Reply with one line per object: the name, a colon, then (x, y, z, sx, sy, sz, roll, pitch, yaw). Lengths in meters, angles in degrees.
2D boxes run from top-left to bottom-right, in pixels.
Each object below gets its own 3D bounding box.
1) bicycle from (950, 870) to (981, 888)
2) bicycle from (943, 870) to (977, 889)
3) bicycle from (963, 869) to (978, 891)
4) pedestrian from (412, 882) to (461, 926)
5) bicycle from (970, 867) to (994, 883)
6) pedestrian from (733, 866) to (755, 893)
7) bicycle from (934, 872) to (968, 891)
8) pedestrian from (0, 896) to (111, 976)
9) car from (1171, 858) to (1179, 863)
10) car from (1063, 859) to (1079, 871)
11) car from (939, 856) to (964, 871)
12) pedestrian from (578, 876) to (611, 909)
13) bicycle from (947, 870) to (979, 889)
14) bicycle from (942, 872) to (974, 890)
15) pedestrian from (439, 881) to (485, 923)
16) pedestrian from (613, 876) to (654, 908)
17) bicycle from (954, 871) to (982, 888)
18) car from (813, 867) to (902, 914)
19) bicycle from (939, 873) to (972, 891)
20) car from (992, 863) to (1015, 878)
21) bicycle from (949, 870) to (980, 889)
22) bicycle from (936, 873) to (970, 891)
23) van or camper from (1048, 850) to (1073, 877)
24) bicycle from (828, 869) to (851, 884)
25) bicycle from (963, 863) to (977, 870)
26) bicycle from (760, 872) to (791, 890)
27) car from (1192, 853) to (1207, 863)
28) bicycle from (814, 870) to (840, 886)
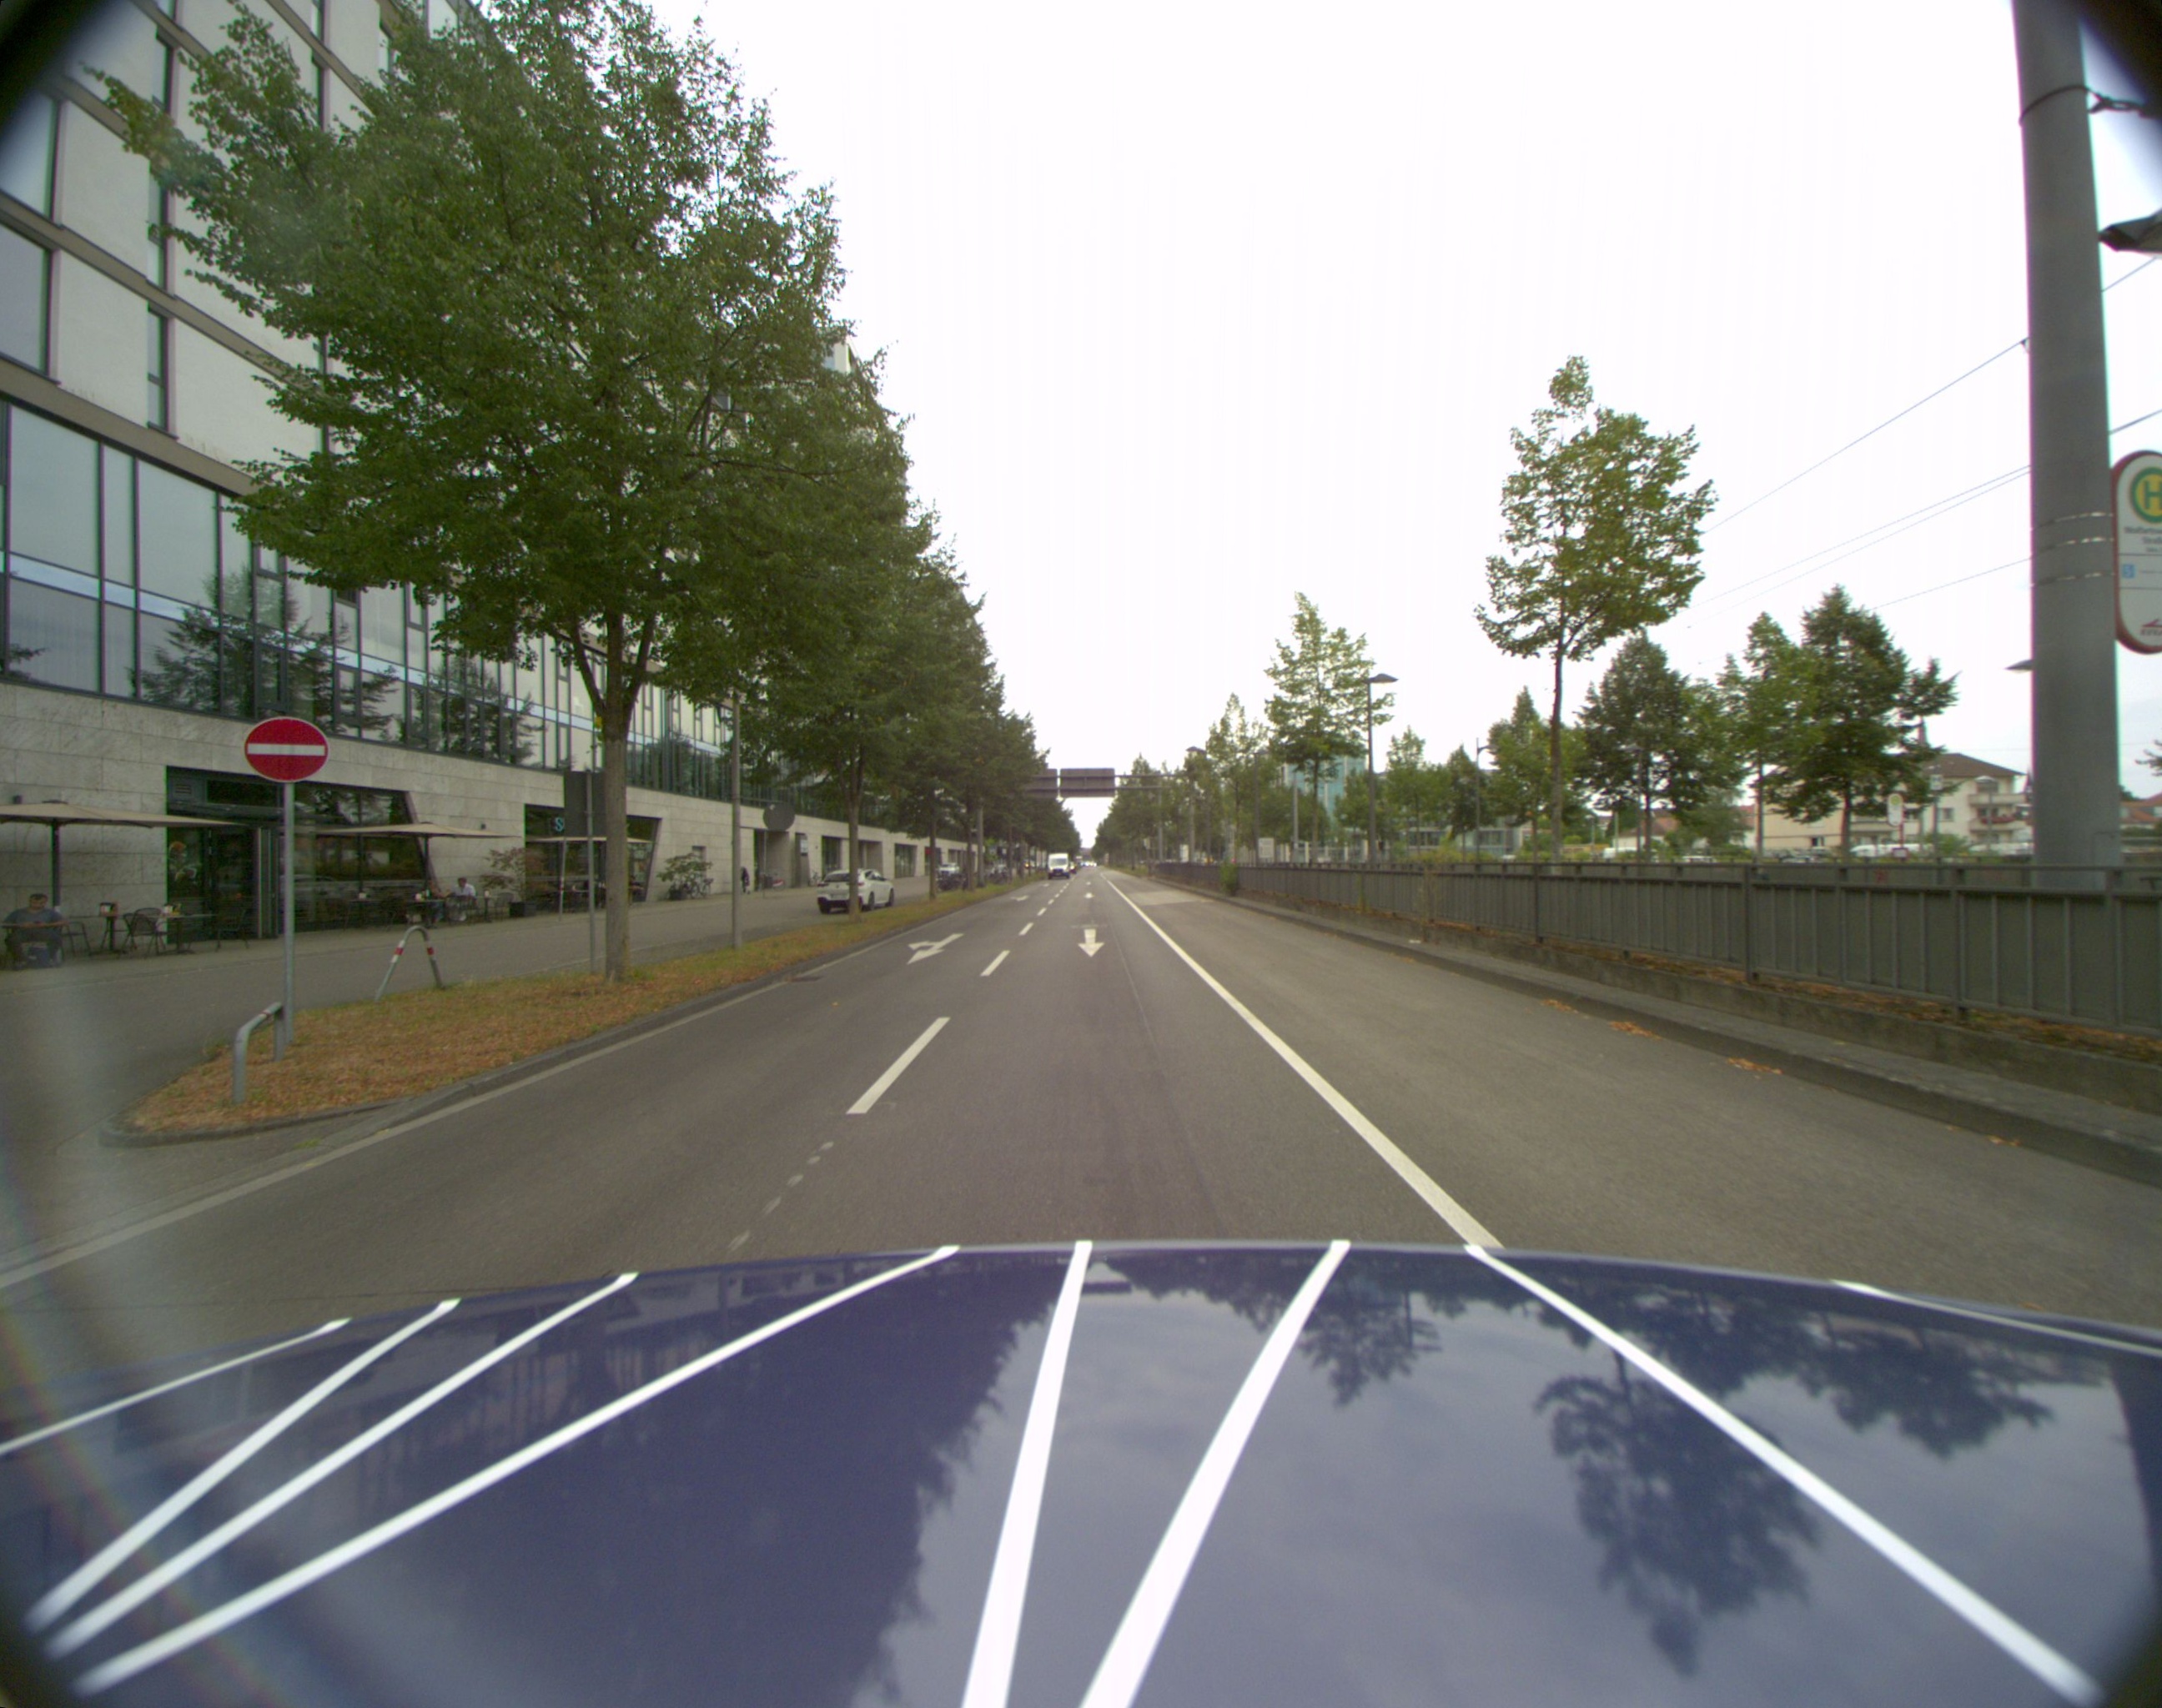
bicycle: (-7.532, 1.643, 49.767, 1.935, 1.059, 0.543, -4, 0, -8)
bicycle: (-7.595, 1.616, 47.697, 1.935, 1.059, 0.705, -4, 0, -2)
bicycle: (-6.108, 1.410, 42.085, 0.712, 1.109, 2.202, -4, 0, -7)
pedestrian: (-18.188, 1.404, 21.466, 0.720, 1.185, 0.759, -1, 0, 0)
bicycle: (-7.498, 1.603, 57.529, 1.672, 1.084, 0.525, -3, 0, -3)
pedestrian: (-17.678, 1.351, 39.844, 0.758, 1.398, 0.721, -1, 0, 8)
bicycle: (-7.655, 1.605, 44.848, 1.865, 0.989, 0.574, -4, 0, -2)
pedestrian: (-17.193, 1.344, 12.646, 0.899, 1.221, 0.951, -1, 0, 6)
car: (25.544, 1.760, 206.871, 1.752, 1.448, 3.865, -1, 0, 2)
car: (-1.305, 1.398, 99.265, 1.973, 1.528, 4.140, -1, 0, 1)
car: (-14.042, 1.028, 82.740, 1.862, 1.579, 4.240, 1, 0, 1)
pedestrian: (-17.940, 1.410, 28.028, 0.719, 1.185, 0.760, -1, 0, 23)
bicycle: (-7.513, 1.611, 48.457, 1.935, 1.059, 0.641, -4, 0, -2)
bicycle: (-7.611, 1.670, 47.005, 1.865, 0.945, 0.612, -4, 0, -2)
pedestrian: (-18.166, 1.402, 22.318, 0.720, 1.185, 0.759, -1, 0, 2)
pedestrian: (-17.280, 1.450, 29.346, 0.773, 1.185, 1.107, -1, 0, 16)
bicycle: (-7.465, 1.683, 50.413, 1.749, 0.968, 0.609, -4, 0, -8)
car: (-8.251, 1.296, 28.523, 1.943, 1.543, 4.594, -1, -1, 0)
bicycle: (-7.652, 1.673, 46.264, 1.865, 0.945, 0.653, -4, 0, -2)
car: (-7.621, 1.605, 74.957, 1.765, 1.413, 4.183, -1, 0, 1)
bicycle: (-7.549, 1.643, 49.188, 1.935, 1.059, 0.543, -4, 0, -8)
bicycle: (-7.669, 1.675, 45.515, 1.865, 0.945, 0.501, -4, 0, -2)
van or camper: (-1.965, 0.915, 75.341, 2.184, 2.493, 6.339, -2, 0, 0)
bicycle: (-17.451, 1.641, 54.912, 1.533, 1.020, 0.533, -1, 0, -3)
bicycle: (-17.369, 1.961, 118.836, 2.238, 1.170, 0.976, -1, 0, -7)
bicycle: (-17.662, 1.574, 43.955, 1.605, 1.020, 0.609, 0, 0, -26)
car: (22.355, 0.726, 143.409, 1.998, 1.933, 5.096, -1, 0, 0)
bicycle: (-17.149, 1.626, 51.273, 1.602, 1.020, 0.533, 0, 0, -3)
